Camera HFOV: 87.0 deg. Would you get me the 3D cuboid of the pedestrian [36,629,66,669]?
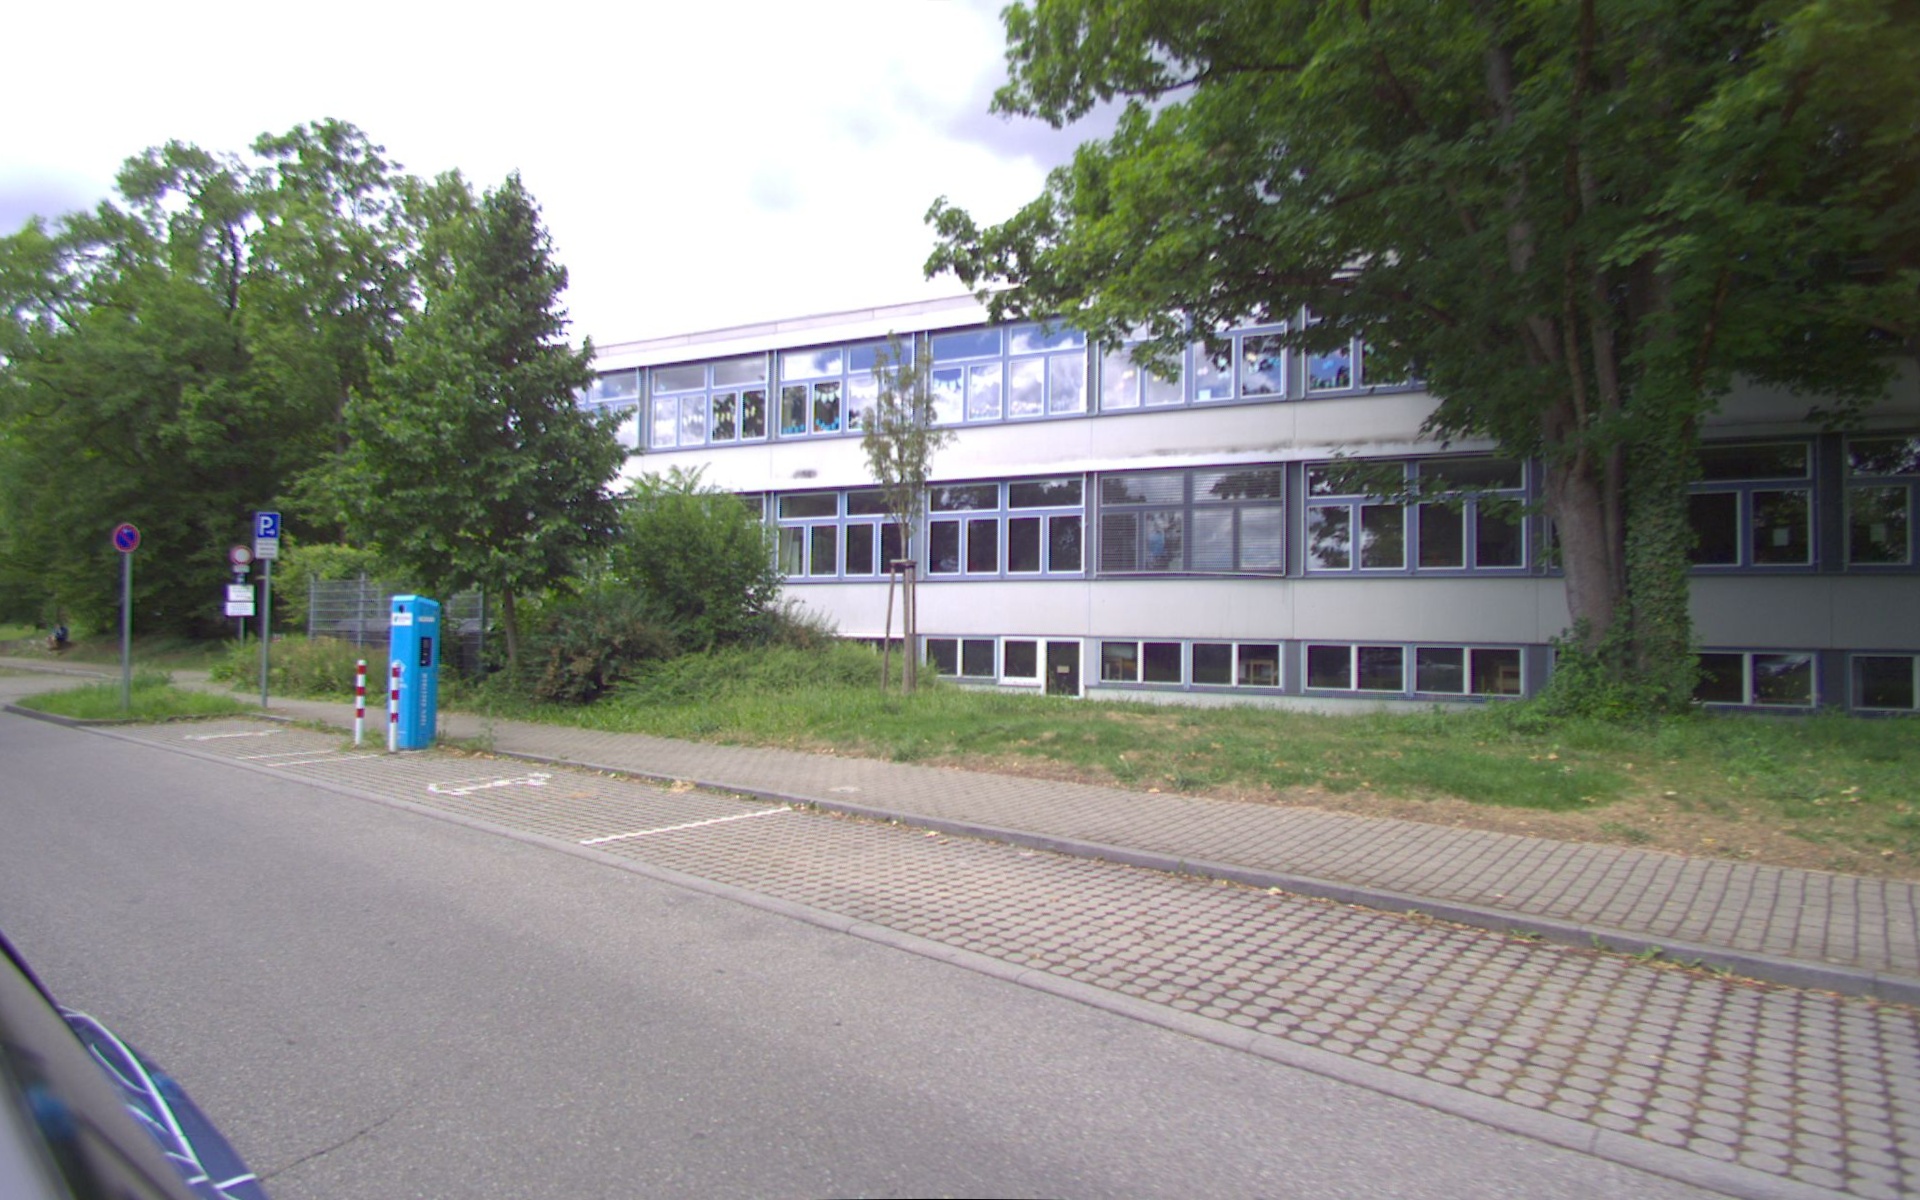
[{"bbox_3d":[-38.954,2.106,43.361,0.807,1.675,0.753,-2,-3,36],"label":"pedestrian"}]
